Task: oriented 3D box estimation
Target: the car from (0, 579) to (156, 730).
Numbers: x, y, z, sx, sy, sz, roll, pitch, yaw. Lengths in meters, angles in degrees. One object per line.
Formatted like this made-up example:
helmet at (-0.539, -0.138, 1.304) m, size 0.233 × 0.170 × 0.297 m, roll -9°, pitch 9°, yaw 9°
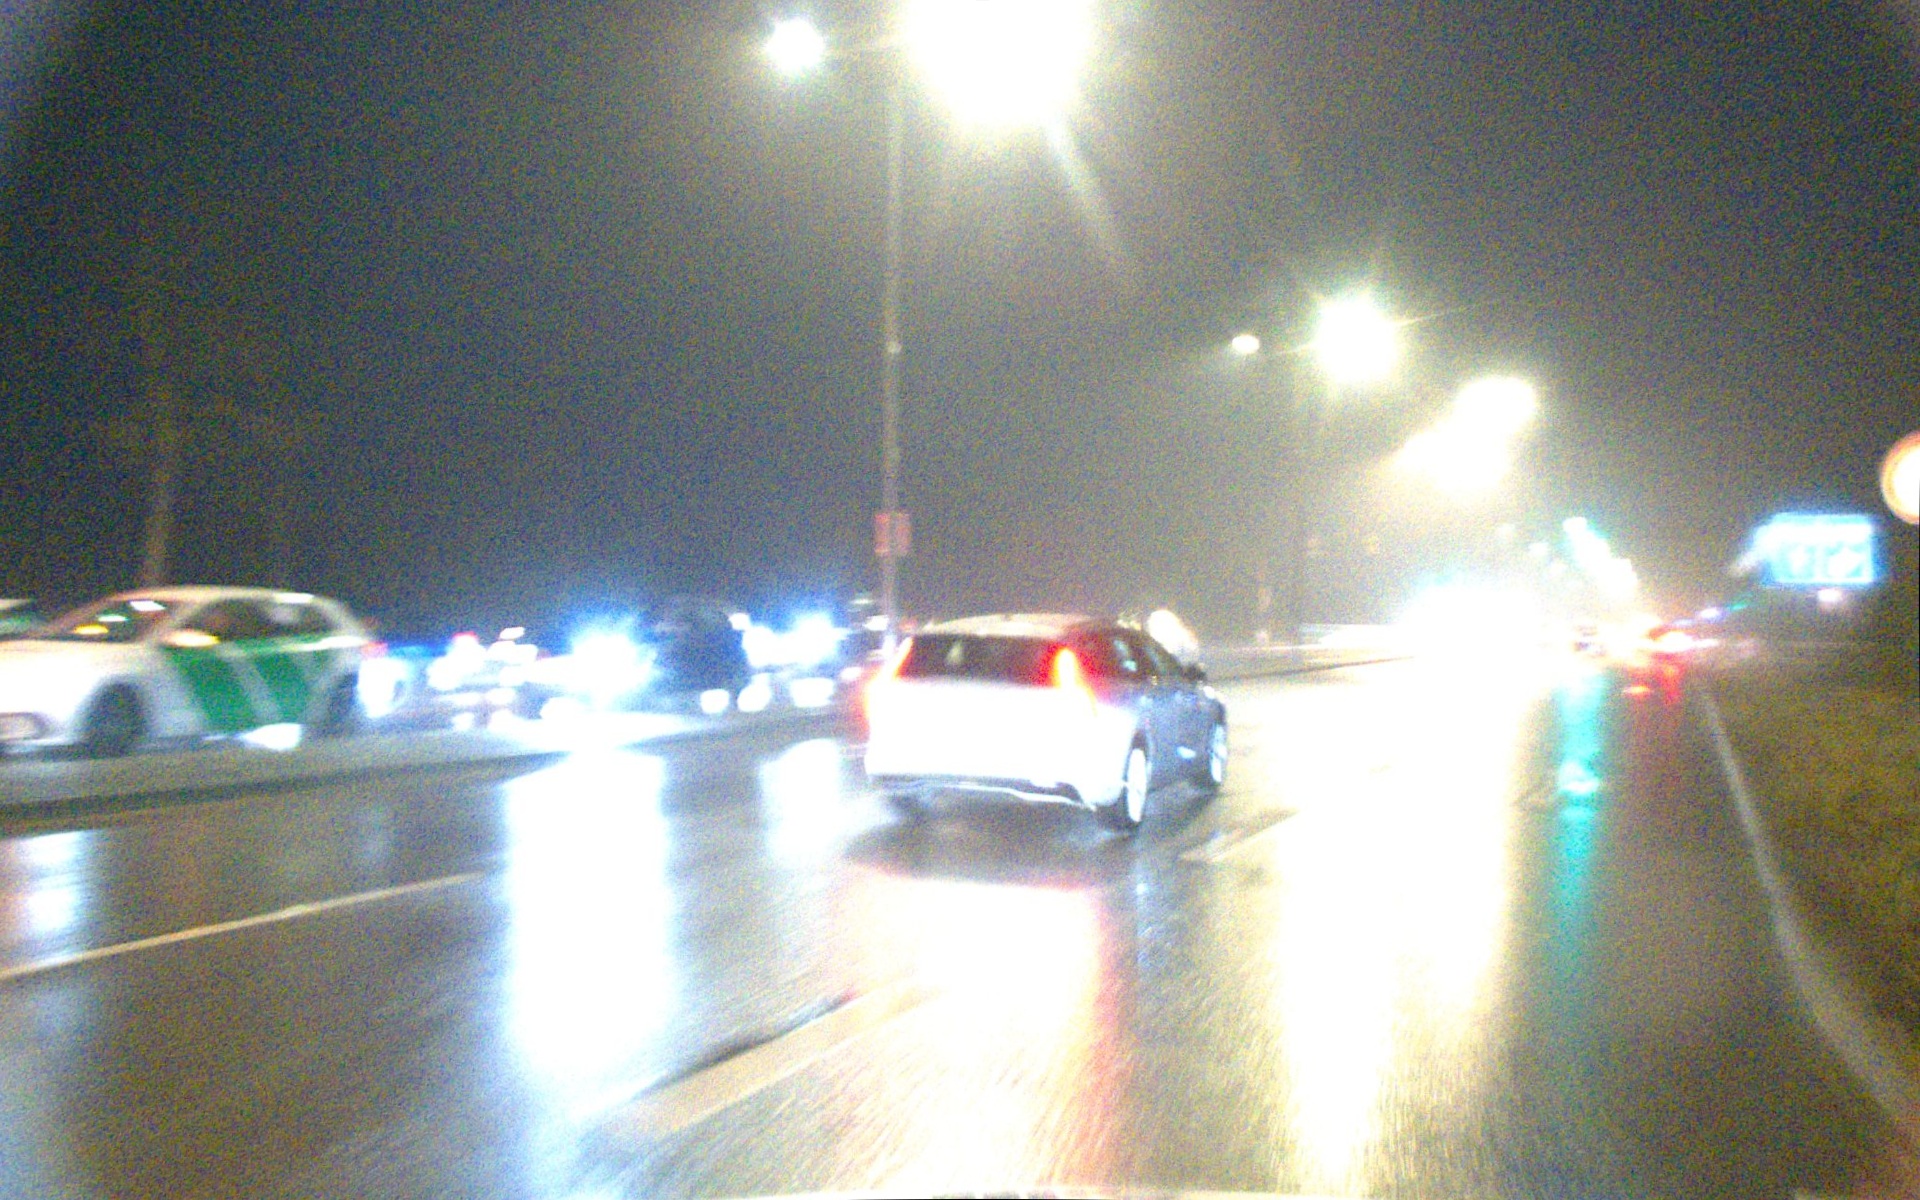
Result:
car at (-12.435, 0.653, 20.498) m, size 1.762 × 1.831 × 4.248 m, roll 1°, pitch -2°, yaw 24°

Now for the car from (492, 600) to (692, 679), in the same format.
car at (-7.069, 0.766, 32.193) m, size 1.724 × 1.401 × 4.038 m, roll 1°, pitch -1°, yaw 24°

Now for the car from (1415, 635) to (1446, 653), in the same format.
car at (33.124, 3.065, 116.356) m, size 1.610 × 1.224 × 3.613 m, roll 1°, pitch -1°, yaw 23°

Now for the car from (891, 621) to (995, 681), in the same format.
car at (-0.463, 1.491, 49.152) m, size 1.463 × 1.630 × 4.143 m, roll 2°, pitch 0°, yaw 24°

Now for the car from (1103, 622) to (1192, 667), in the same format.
car at (7.171, 1.703, 62.896) m, size 1.847 × 1.557 × 4.425 m, roll 3°, pitch 0°, yaw 27°

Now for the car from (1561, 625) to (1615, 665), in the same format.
car at (31.677, 2.267, 83.396) m, size 2.136 × 1.629 × 3.996 m, roll 6°, pitch -1°, yaw 25°

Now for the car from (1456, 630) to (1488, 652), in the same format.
car at (34.433, 2.742, 111.150) m, size 1.558 × 1.452 × 3.347 m, roll 1°, pitch 0°, yaw 25°

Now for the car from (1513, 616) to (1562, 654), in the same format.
car at (31.023, 1.898, 88.753) m, size 2.135 × 1.629 × 3.998 m, roll 6°, pitch -1°, yaw 23°

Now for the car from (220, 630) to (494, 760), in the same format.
car at (-9.602, 1.506, 26.706) m, size 1.724 × 1.881 × 4.122 m, roll 1°, pitch -2°, yaw 24°

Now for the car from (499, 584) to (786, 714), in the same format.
car at (-4.220, 0.643, 22.730) m, size 1.776 × 1.605 × 4.304 m, roll 0°, pitch -1°, yaw 23°

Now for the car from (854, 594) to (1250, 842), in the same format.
car at (0.902, 0.756, 12.609) m, size 1.759 × 1.477 × 4.268 m, roll 2°, pitch 0°, yaw 21°

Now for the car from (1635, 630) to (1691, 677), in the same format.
car at (29.094, 2.218, 68.505) m, size 1.872 × 1.629 × 3.999 m, roll 6°, pitch -1°, yaw 22°

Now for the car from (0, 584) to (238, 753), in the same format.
car at (-10.046, 0.716, 17.807) m, size 1.762 × 1.695 × 3.974 m, roll 1°, pitch -2°, yaw 24°

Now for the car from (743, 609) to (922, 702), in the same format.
car at (-2.554, 1.125, 34.303) m, size 1.762 × 1.695 × 4.486 m, roll 3°, pitch 0°, yaw 23°

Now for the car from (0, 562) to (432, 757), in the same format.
car at (-7.109, 0.488, 15.233) m, size 1.741 × 1.510 × 4.409 m, roll 1°, pitch -1°, yaw 25°
